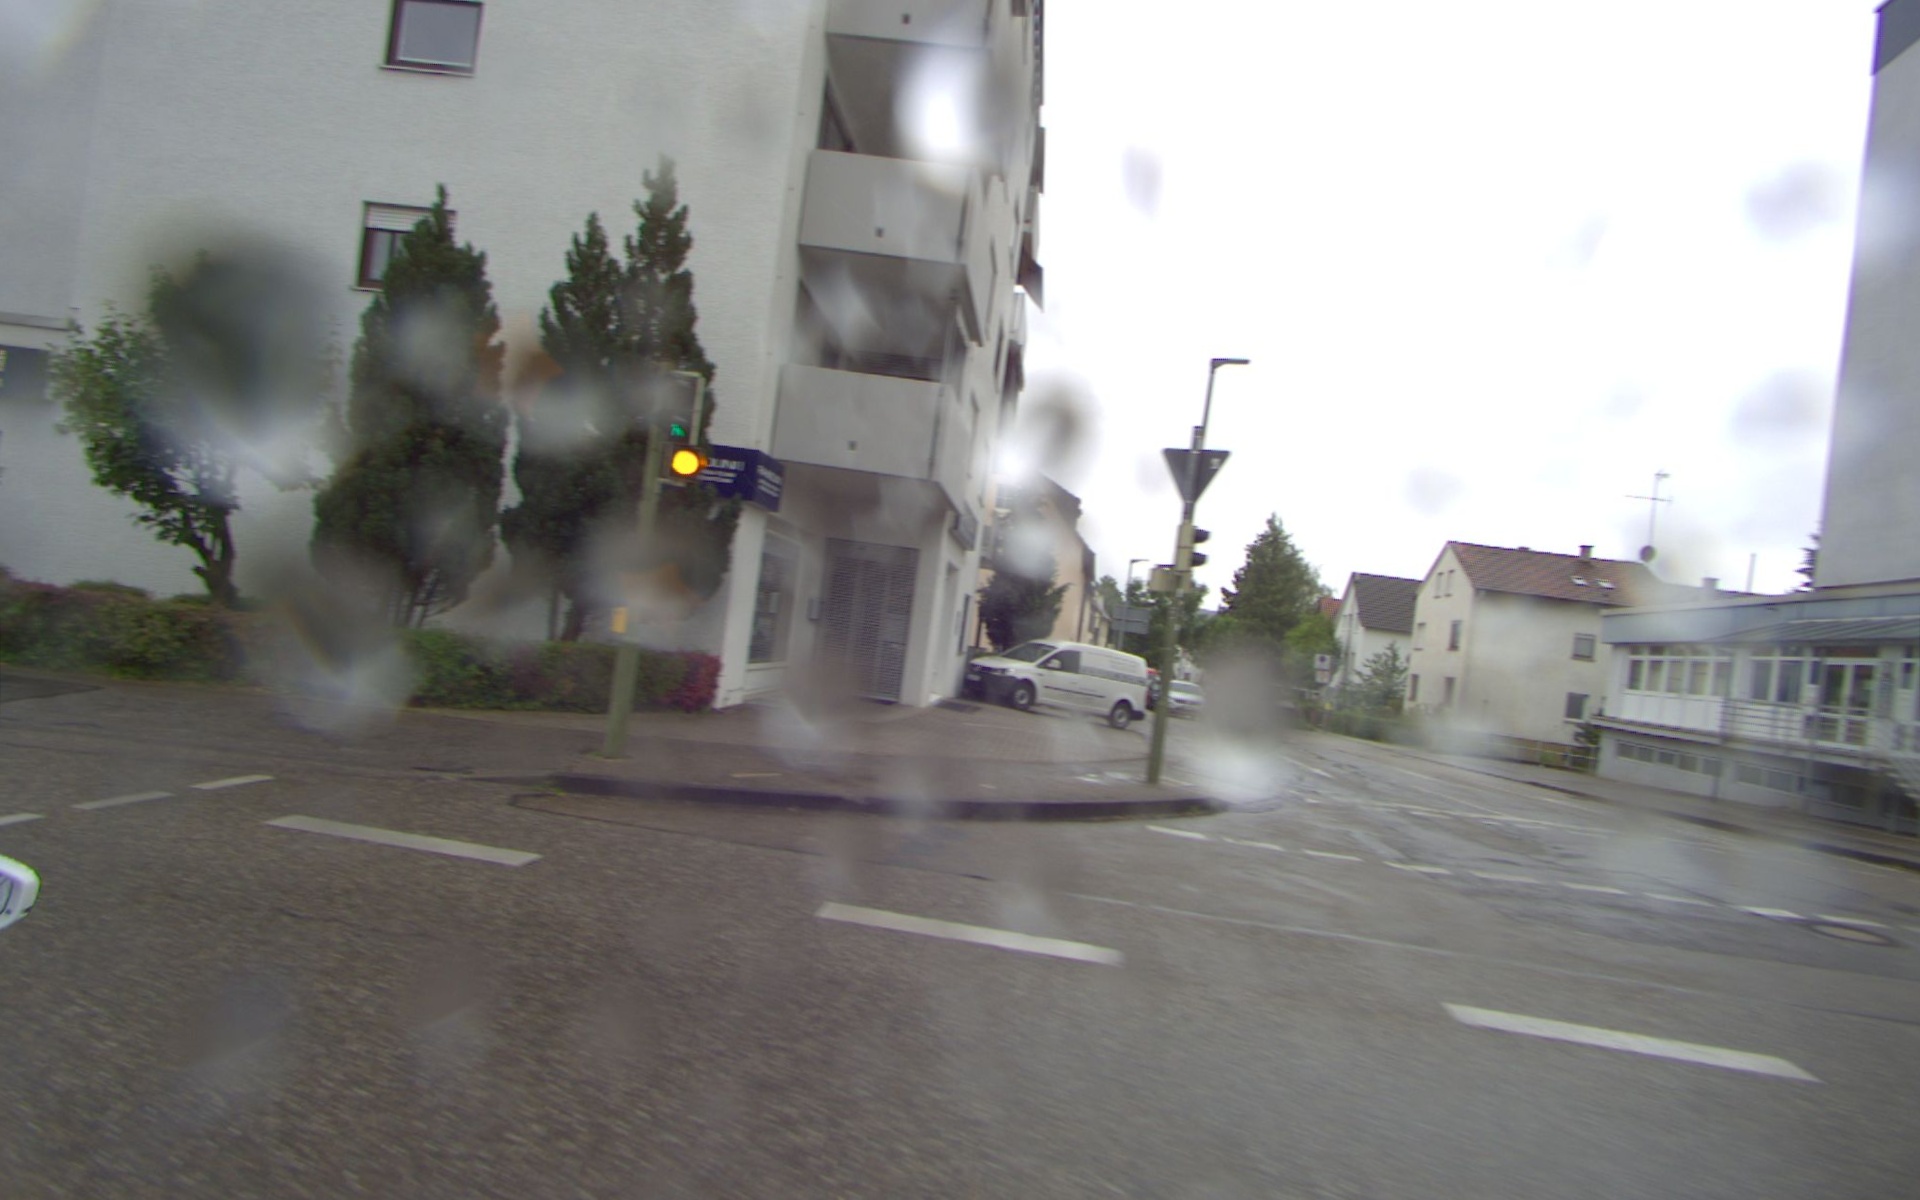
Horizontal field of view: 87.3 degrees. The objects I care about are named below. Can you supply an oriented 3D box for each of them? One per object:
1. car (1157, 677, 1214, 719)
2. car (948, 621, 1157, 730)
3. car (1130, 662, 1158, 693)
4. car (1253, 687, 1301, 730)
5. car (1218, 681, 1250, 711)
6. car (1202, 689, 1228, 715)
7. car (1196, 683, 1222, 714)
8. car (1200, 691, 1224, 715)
[{"bbox_3d":[9.659,4.178,43.368,1.739,1.540,4.007,6,-3,6],"label":"car"},{"bbox_3d":[2.263,1.825,23.945,4.689,1.795,1.760,12,-6,-32],"label":"car"},{"bbox_3d":[18.547,7.817,101.655,2.181,2.799,5.735,6,-3,7],"label":"car"},{"bbox_3d":[17.605,6.063,56.008,1.962,2.033,4.012,6,-5,12],"label":"car"},{"bbox_3d":[21.120,7.427,77.684,1.962,2.036,4.008,6,-3,12],"label":"car"},{"bbox_3d":[23.387,9.339,92.316,1.962,2.036,4.008,6,-3,12],"label":"car"},{"bbox_3d":[26.039,10.320,105.587,2.158,2.836,7.013,6,-3,12],"label":"car"},{"bbox_3d":[24.427,9.963,97.538,1.962,2.036,4.008,6,-3,12],"label":"car"}]
